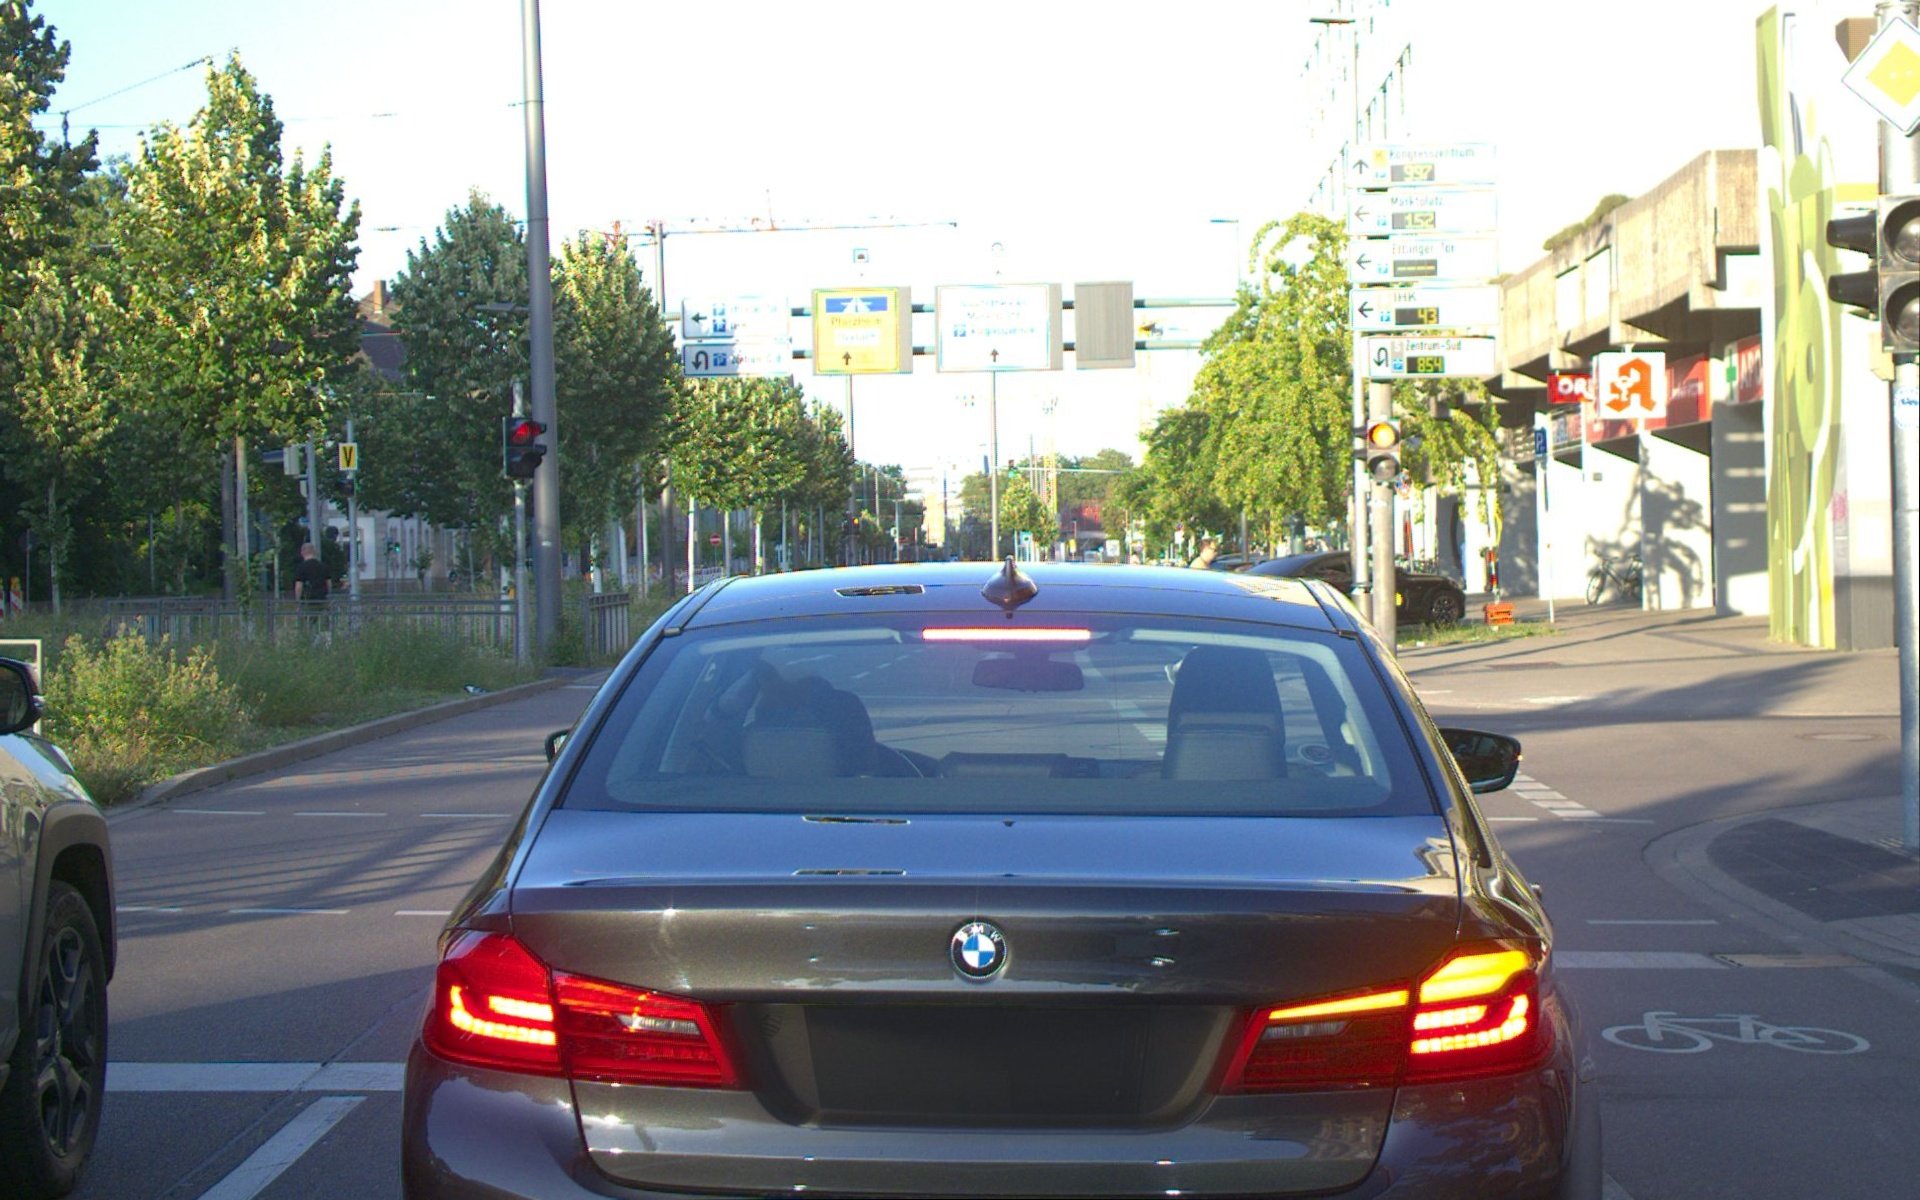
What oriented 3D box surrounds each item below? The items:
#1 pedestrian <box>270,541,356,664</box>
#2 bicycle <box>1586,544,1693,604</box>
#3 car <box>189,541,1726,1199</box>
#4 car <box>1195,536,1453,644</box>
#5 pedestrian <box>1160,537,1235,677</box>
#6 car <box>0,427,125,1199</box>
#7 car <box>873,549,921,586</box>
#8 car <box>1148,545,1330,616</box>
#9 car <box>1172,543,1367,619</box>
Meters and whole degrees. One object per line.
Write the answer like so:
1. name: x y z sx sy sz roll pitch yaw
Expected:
1. pedestrian: -8.470 0.032 45.049 0.835 1.581 0.812 -1 1 10
2. bicycle: 13.617 -0.524 68.963 2.017 1.145 0.690 2 0 7
3. car: 0.034 0.668 6.602 1.932 1.476 4.522 0 2 1
4. car: 6.017 -0.205 56.588 4.256 1.653 1.860 -2 3 -42
5. pedestrian: 2.946 0.083 42.647 0.835 1.706 0.648 -1 1 -1
6. car: -2.892 0.497 6.218 1.854 1.653 4.269 0 2 -2
7. car: -2.688 -1.394 146.943 1.979 1.428 4.843 0 2 0
8. car: 6.918 -0.514 85.150 4.255 1.653 1.860 -1 2 -35
9. car: 7.126 -0.457 79.052 4.255 1.653 1.860 -1 2 -35
